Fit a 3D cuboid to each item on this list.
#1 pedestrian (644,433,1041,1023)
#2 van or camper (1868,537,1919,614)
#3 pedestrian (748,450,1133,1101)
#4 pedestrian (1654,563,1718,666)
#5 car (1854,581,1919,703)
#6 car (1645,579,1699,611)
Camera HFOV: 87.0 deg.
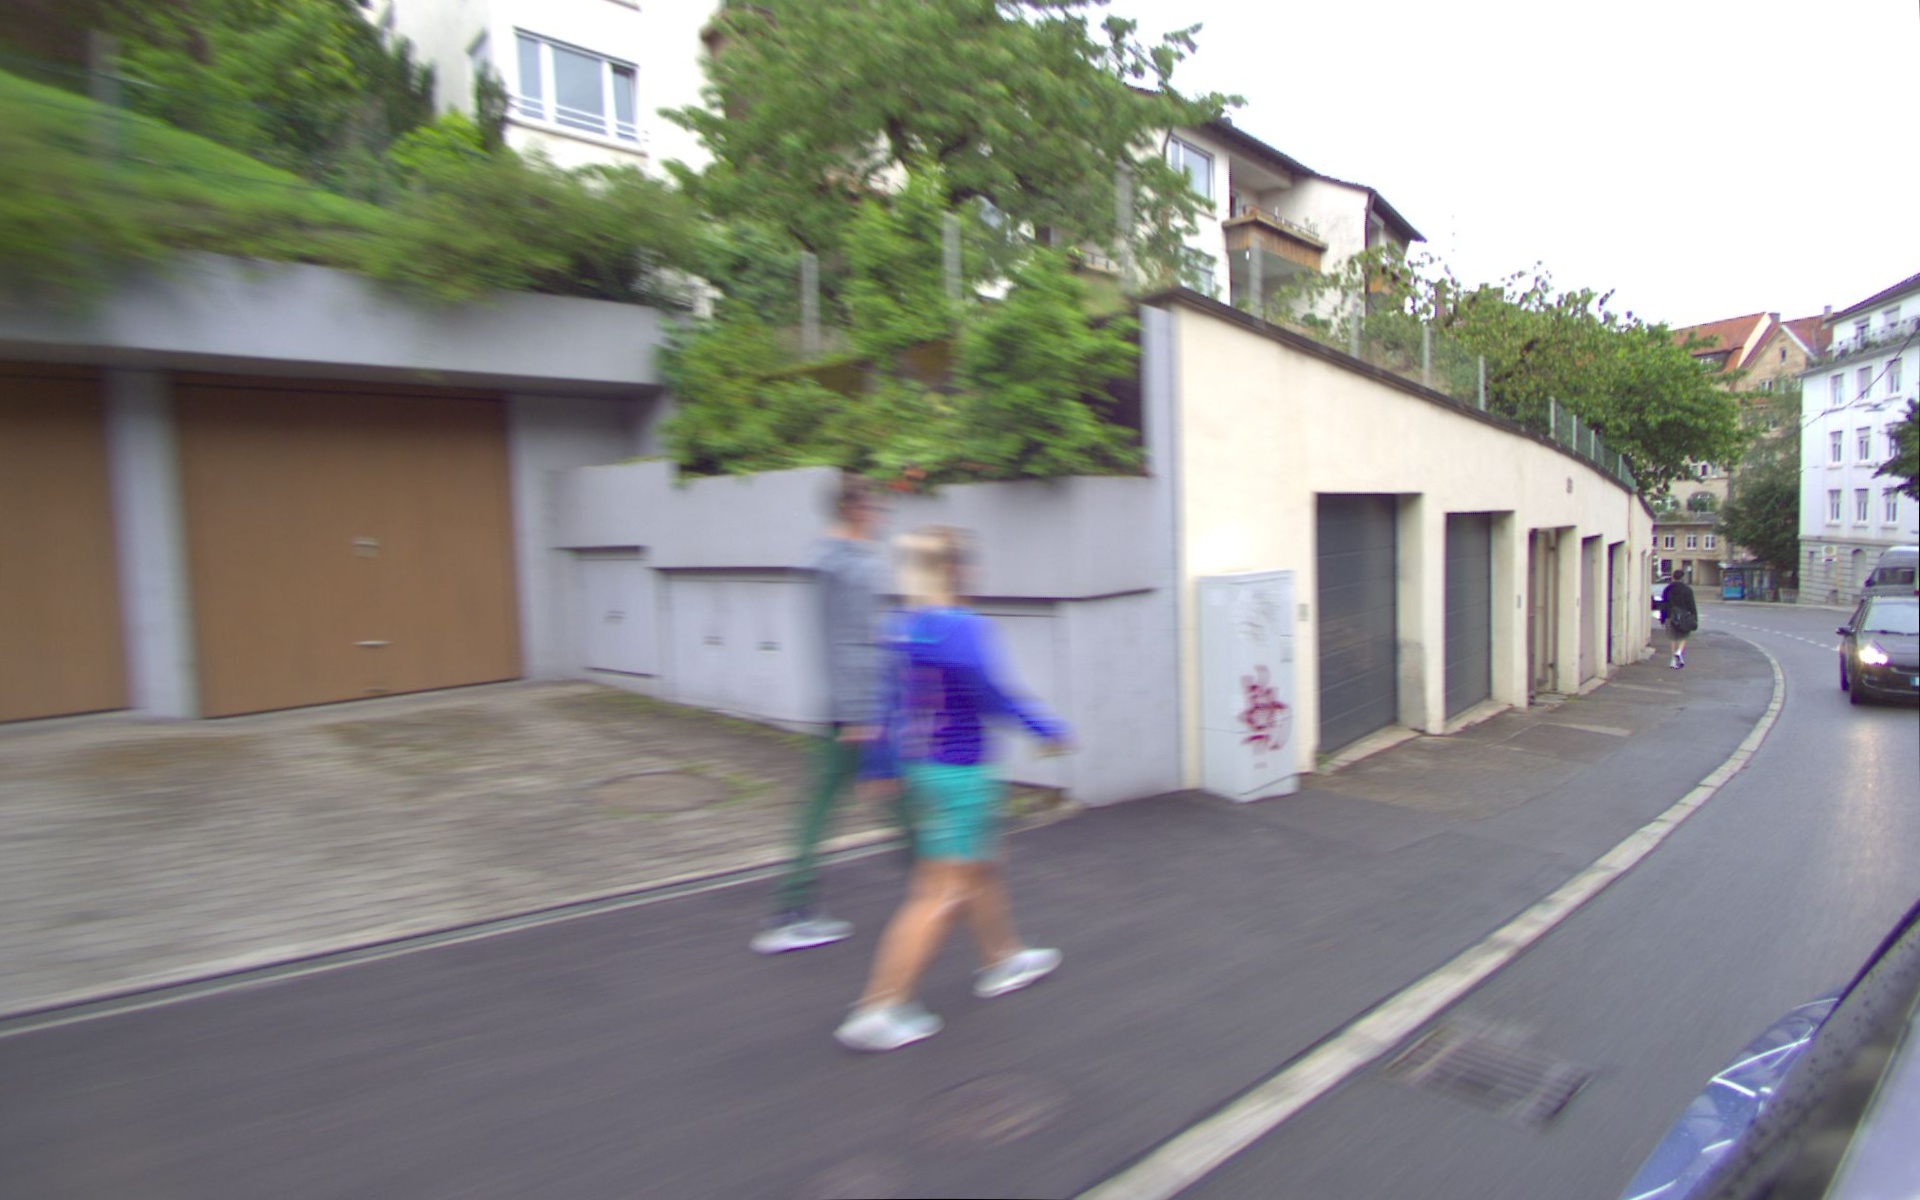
[{"bbox_3d":[-0.428,0.380,3.868,1.230,1.854,0.777,0,3,-43],"label":"pedestrian"},{"bbox_3d":[37.889,-0.931,39.465,2.052,2.895,5.700,1,1,25],"label":"van or camper"},{"bbox_3d":[-0.062,0.453,3.369,0.995,1.779,0.776,-2,4,-43],"label":"pedestrian"},{"bbox_3d":[13.620,0.248,18.982,0.898,1.873,0.791,0,1,42],"label":"pedestrian"},{"bbox_3d":[13.927,0.504,14.381,1.692,1.483,3.940,-4,-1,43],"label":"car"},{"bbox_3d":[40.848,-0.308,58.134,1.879,1.717,3.964,-3,0,26],"label":"car"}]
